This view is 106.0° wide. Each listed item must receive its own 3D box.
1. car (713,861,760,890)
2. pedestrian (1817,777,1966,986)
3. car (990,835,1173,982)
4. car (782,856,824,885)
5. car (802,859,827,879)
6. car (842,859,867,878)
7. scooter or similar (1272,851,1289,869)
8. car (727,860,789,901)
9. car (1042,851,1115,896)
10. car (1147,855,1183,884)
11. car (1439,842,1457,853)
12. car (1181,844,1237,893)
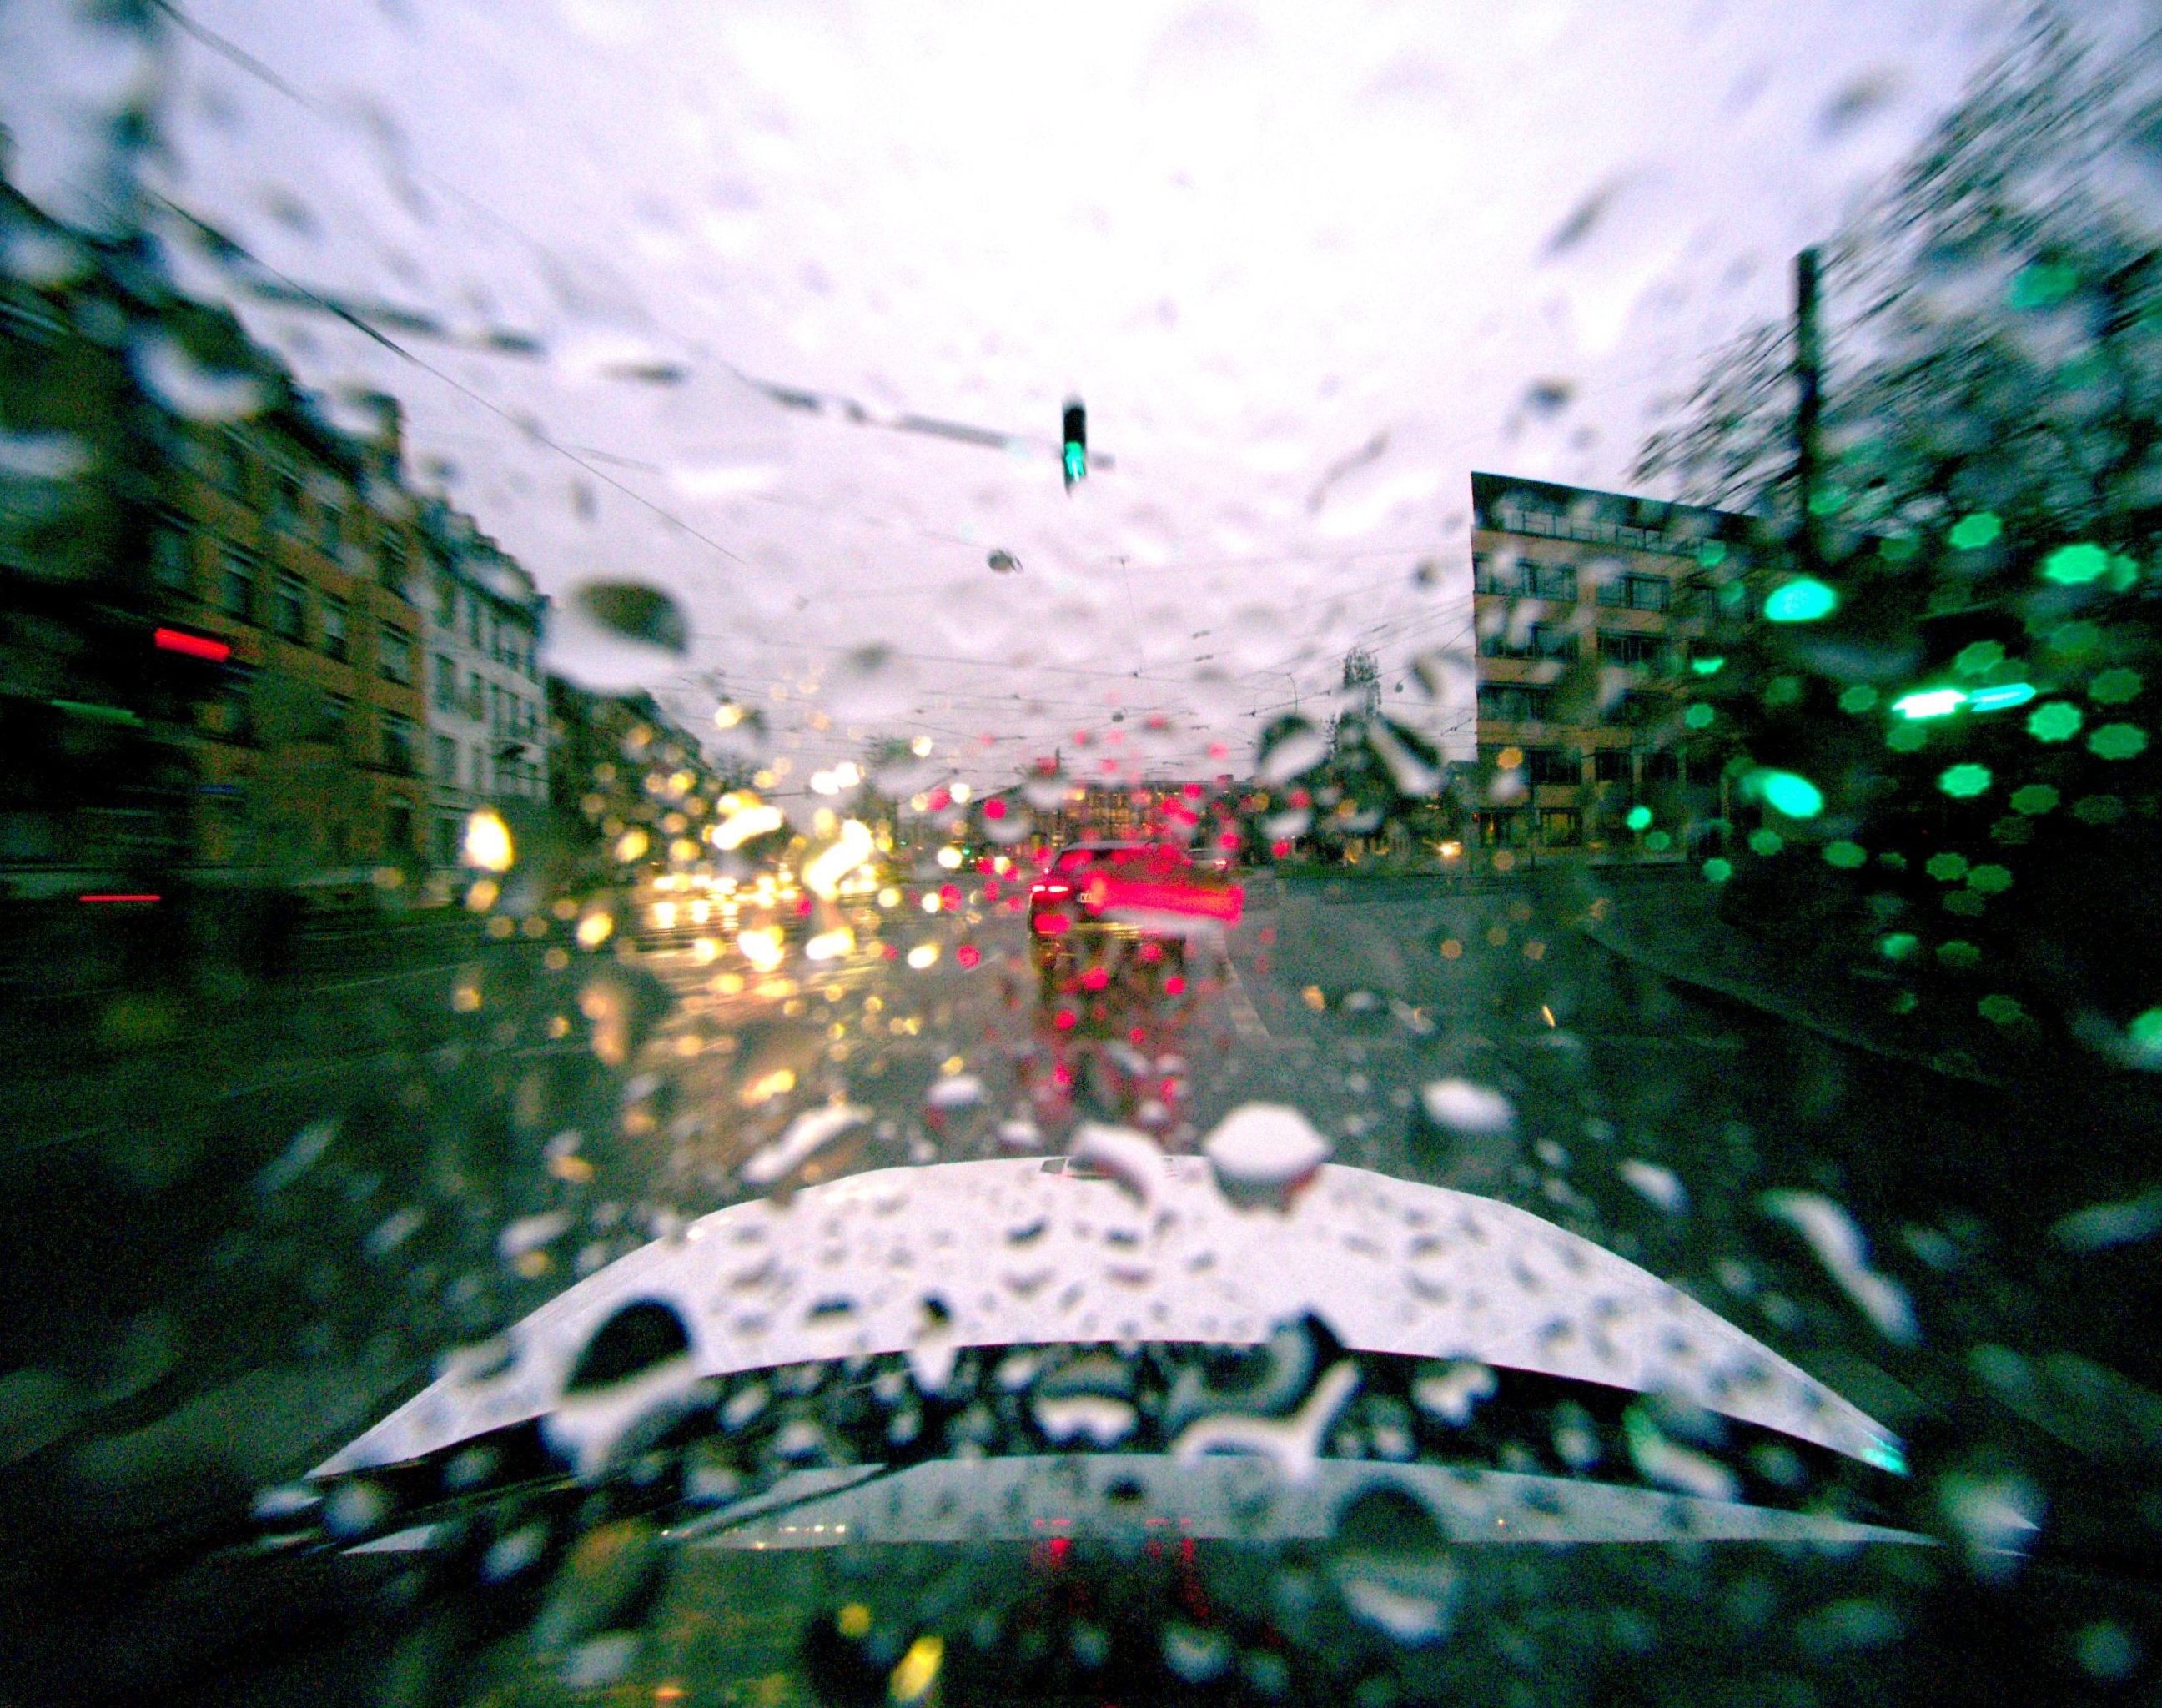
[{"bbox_3d":[-17.523,1.061,41.587,1.683,1.392,3.596,-1,0,-14],"label":"car"},{"bbox_3d":[7.643,0.245,7.714,0.569,1.838,0.685,-7,1,9],"label":"pedestrian"},{"bbox_3d":[0.218,0.608,11.116,1.980,1.616,4.008,-1,0,7],"label":"car"},{"bbox_3d":[-15.098,0.855,44.380,1.682,1.457,4.315,-1,0,-13],"label":"car"},{"bbox_3d":[-21.840,1.186,66.780,1.683,1.553,4.101,-1,0,-15],"label":"car"},{"bbox_3d":[-16.200,0.990,58.201,1.541,1.245,4.062,-2,0,-18],"label":"car"},{"bbox_3d":[14.054,0.429,57.402,1.150,1.232,0.482,-1,0,-34],"label":"scooter or similar"},{"bbox_3d":[-12.675,1.004,32.159,1.682,1.457,4.044,-1,0,-13],"label":"car"},{"bbox_3d":[0.002,0.631,28.573,1.982,1.398,4.009,-1,0,8],"label":"car"},{"bbox_3d":[5.250,0.940,51.183,1.985,1.618,4.003,-1,0,3],"label":"car"},{"bbox_3d":[41.610,-0.728,92.272,1.651,1.180,3.730,-1,0,27],"label":"car"},{"bbox_3d":[5.047,0.524,31.816,1.981,1.765,4.012,-1,0,11],"label":"car"}]
